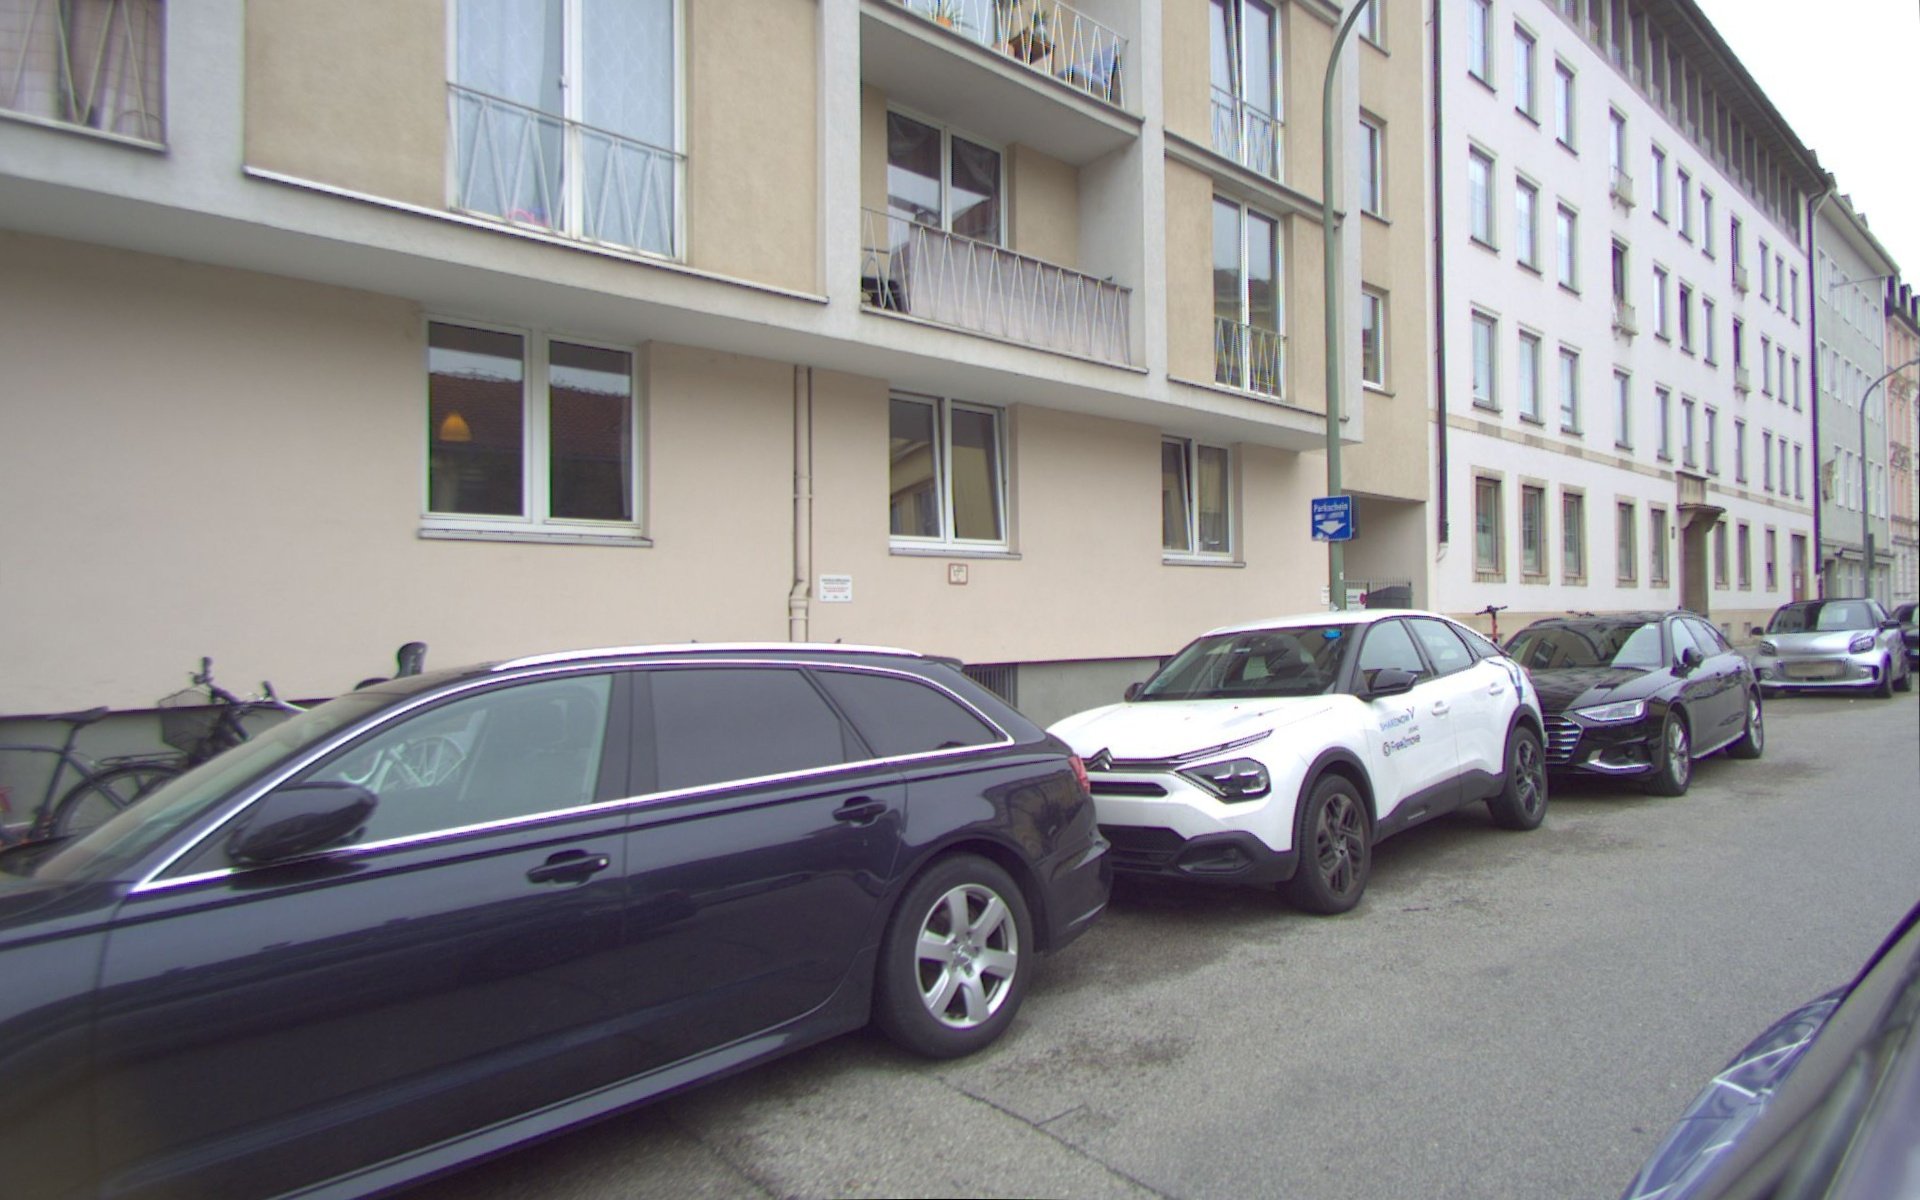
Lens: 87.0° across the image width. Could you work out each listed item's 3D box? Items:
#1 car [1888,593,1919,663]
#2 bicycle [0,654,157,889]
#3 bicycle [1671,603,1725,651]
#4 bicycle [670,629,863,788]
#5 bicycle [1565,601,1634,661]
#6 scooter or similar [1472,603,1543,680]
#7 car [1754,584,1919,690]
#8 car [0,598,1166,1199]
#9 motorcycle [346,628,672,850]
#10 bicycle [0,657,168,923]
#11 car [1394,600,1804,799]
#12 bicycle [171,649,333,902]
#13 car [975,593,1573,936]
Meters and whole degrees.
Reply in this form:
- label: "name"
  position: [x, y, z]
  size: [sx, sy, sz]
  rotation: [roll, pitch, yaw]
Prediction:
- label: "car"
  position: [22.116, 0.582, 22.334]
  size: [4.618, 1.466, 1.876]
  rotation: [0, -2, -41]
- label: "bicycle"
  position: [-5.349, 0.958, 5.648]
  size: [1.316, 1.216, 0.394]
  rotation: [-1, 3, -35]
- label: "bicycle"
  position: [17.763, 0.628, 24.337]
  size: [2.004, 1.093, 0.599]
  rotation: [0, 2, -41]
- label: "bicycle"
  position: [-1.614, 0.867, 8.599]
  size: [1.573, 1.171, 0.514]
  rotation: [0, 1, -41]
- label: "bicycle"
  position: [12.690, 0.592, 20.066]
  size: [1.805, 1.105, 0.631]
  rotation: [0, 2, -40]
- label: "scooter or similar"
  position: [9.526, 0.703, 17.613]
  size: [1.076, 1.291, 0.731]
  rotation: [0, -1, -40]
- label: "car"
  position: [14.441, 0.596, 16.447]
  size: [3.318, 1.537, 1.617]
  rotation: [0, -5, -39]
- label: "car"
  position: [-1.554, 0.805, 3.275]
  size: [4.609, 1.448, 1.775]
  rotation: [0, -5, -40]
- label: "motorcycle"
  position: [-3.108, 0.880, 7.124]
  size: [2.005, 1.287, 0.636]
  rotation: [0, 1, -41]
- label: "bicycle"
  position: [-4.823, 0.952, 5.041]
  size: [1.347, 1.216, 0.447]
  rotation: [-1, 3, -43]
- label: "car"
  position: [5.977, 0.747, 9.254]
  size: [4.410, 1.399, 1.830]
  rotation: [0, -3, -39]
- label: "bicycle"
  position: [-4.151, 0.956, 5.909]
  size: [1.335, 1.216, 0.389]
  rotation: [3, 3, 37]
- label: "car"
  position: [2.192, 0.773, 6.429]
  size: [4.049, 1.488, 1.703]
  rotation: [0, -5, -42]
